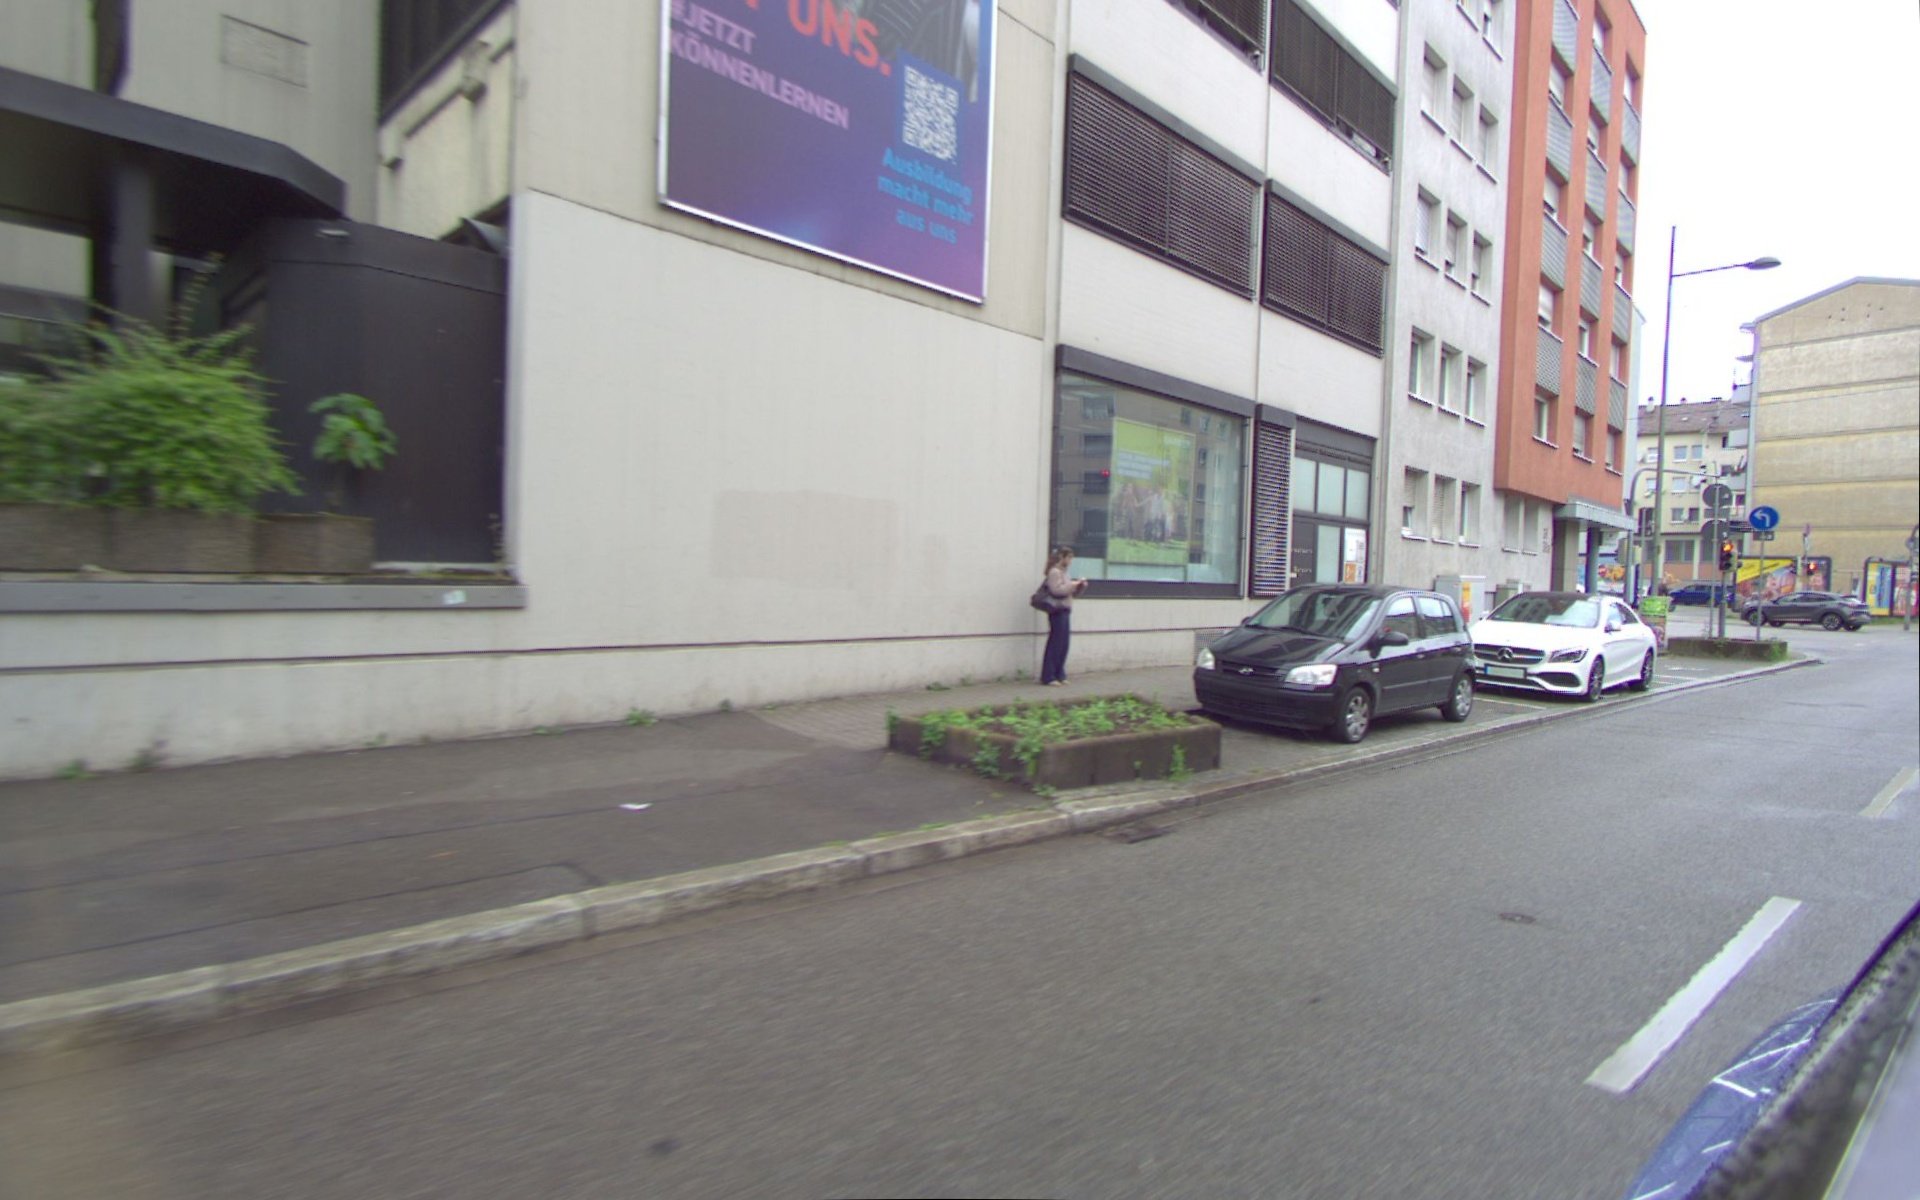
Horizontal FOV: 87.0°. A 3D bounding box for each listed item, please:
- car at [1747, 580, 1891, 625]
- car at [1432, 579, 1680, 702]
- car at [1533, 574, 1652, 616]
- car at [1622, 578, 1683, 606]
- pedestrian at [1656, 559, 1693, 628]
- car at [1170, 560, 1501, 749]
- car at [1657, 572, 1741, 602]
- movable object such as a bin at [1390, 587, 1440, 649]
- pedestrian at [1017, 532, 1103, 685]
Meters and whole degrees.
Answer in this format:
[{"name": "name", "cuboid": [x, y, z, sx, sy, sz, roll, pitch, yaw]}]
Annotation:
[{"name": "car", "cuboid": [34.468, 0.066, 40.706, 1.799, 1.641, 4.006, 1, 2, -29]}, {"name": "car", "cuboid": [8.796, 0.489, 14.764, 4.492, 1.437, 1.834, 0, 4, -43]}, {"name": "car", "cuboid": [27.524, -0.242, 44.163, 1.802, 1.641, 4.000, 0, 2, -37]}, {"name": "car", "cuboid": [38.931, -0.467, 56.868, 3.672, 1.474, 1.739, 0, 2, -37]}, {"name": "pedestrian", "cuboid": [23.133, -0.232, 32.773, 0.797, 2.179, 0.732, 2, 2, 26]}, {"name": "car", "cuboid": [4.067, 0.447, 10.698, 3.740, 1.577, 1.705, 0, 4, -43]}, {"name": "car", "cuboid": [46.204, -0.816, 63.356, 1.801, 1.732, 3.801, 1, 2, -21]}, {"name": "movable object such as a bin", "cuboid": [8.558, 0.322, 19.040, 0.505, 1.117, 0.680, 0, 2, -42]}, {"name": "pedestrian", "cuboid": [1.158, 0.084, 11.719, 0.598, 1.679, 0.681, 7, 5, 42]}]
